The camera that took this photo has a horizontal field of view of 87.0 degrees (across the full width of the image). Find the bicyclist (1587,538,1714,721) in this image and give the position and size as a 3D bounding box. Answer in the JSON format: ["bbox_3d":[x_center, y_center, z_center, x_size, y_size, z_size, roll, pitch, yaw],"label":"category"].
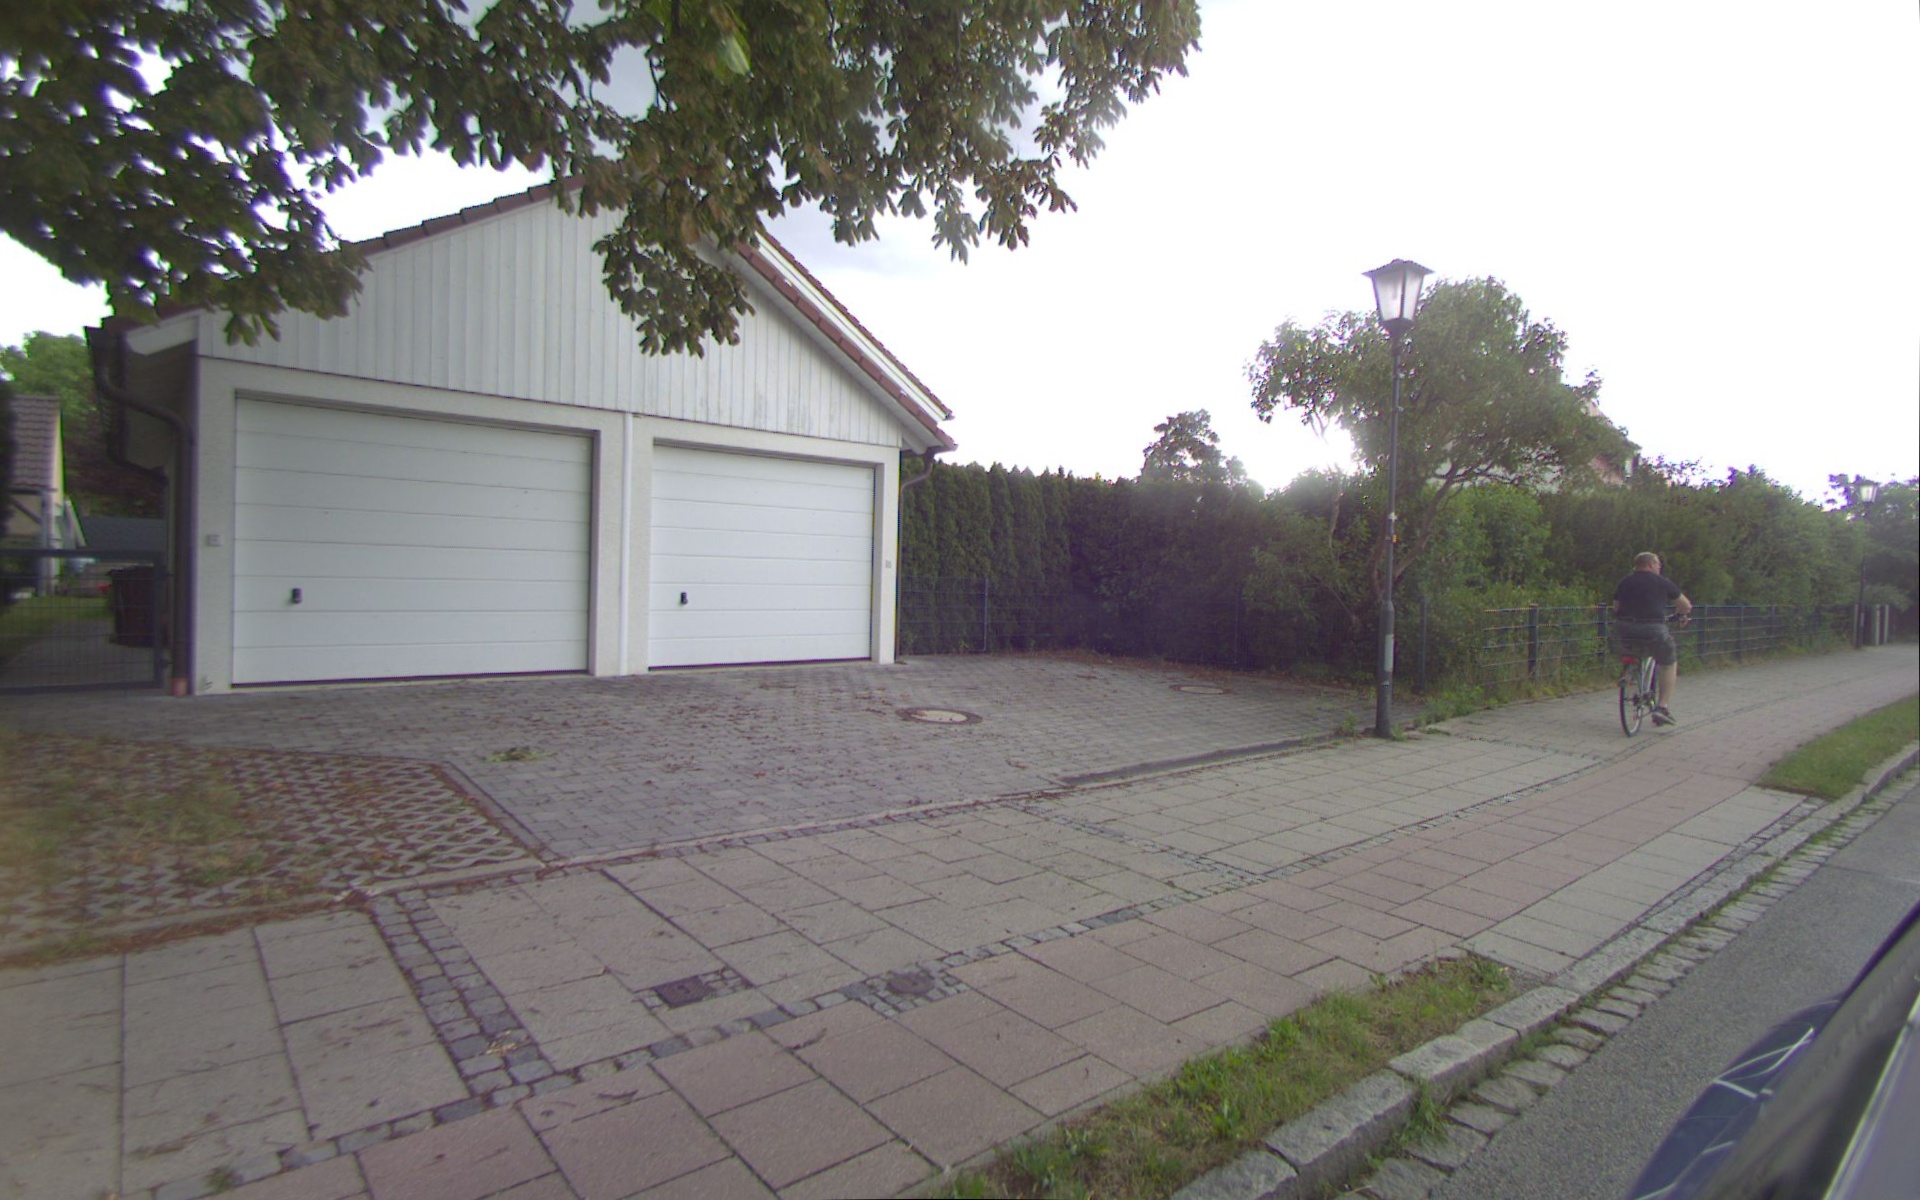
[{"bbox_3d":[6.605,0.255,9.681,0.874,1.653,0.738,0,1,-38],"label":"bicyclist"}]

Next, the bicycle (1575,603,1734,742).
[{"bbox_3d":[6.734,0.644,9.783,1.812,1.157,0.766,-1,2,-39],"label":"bicycle"}]
